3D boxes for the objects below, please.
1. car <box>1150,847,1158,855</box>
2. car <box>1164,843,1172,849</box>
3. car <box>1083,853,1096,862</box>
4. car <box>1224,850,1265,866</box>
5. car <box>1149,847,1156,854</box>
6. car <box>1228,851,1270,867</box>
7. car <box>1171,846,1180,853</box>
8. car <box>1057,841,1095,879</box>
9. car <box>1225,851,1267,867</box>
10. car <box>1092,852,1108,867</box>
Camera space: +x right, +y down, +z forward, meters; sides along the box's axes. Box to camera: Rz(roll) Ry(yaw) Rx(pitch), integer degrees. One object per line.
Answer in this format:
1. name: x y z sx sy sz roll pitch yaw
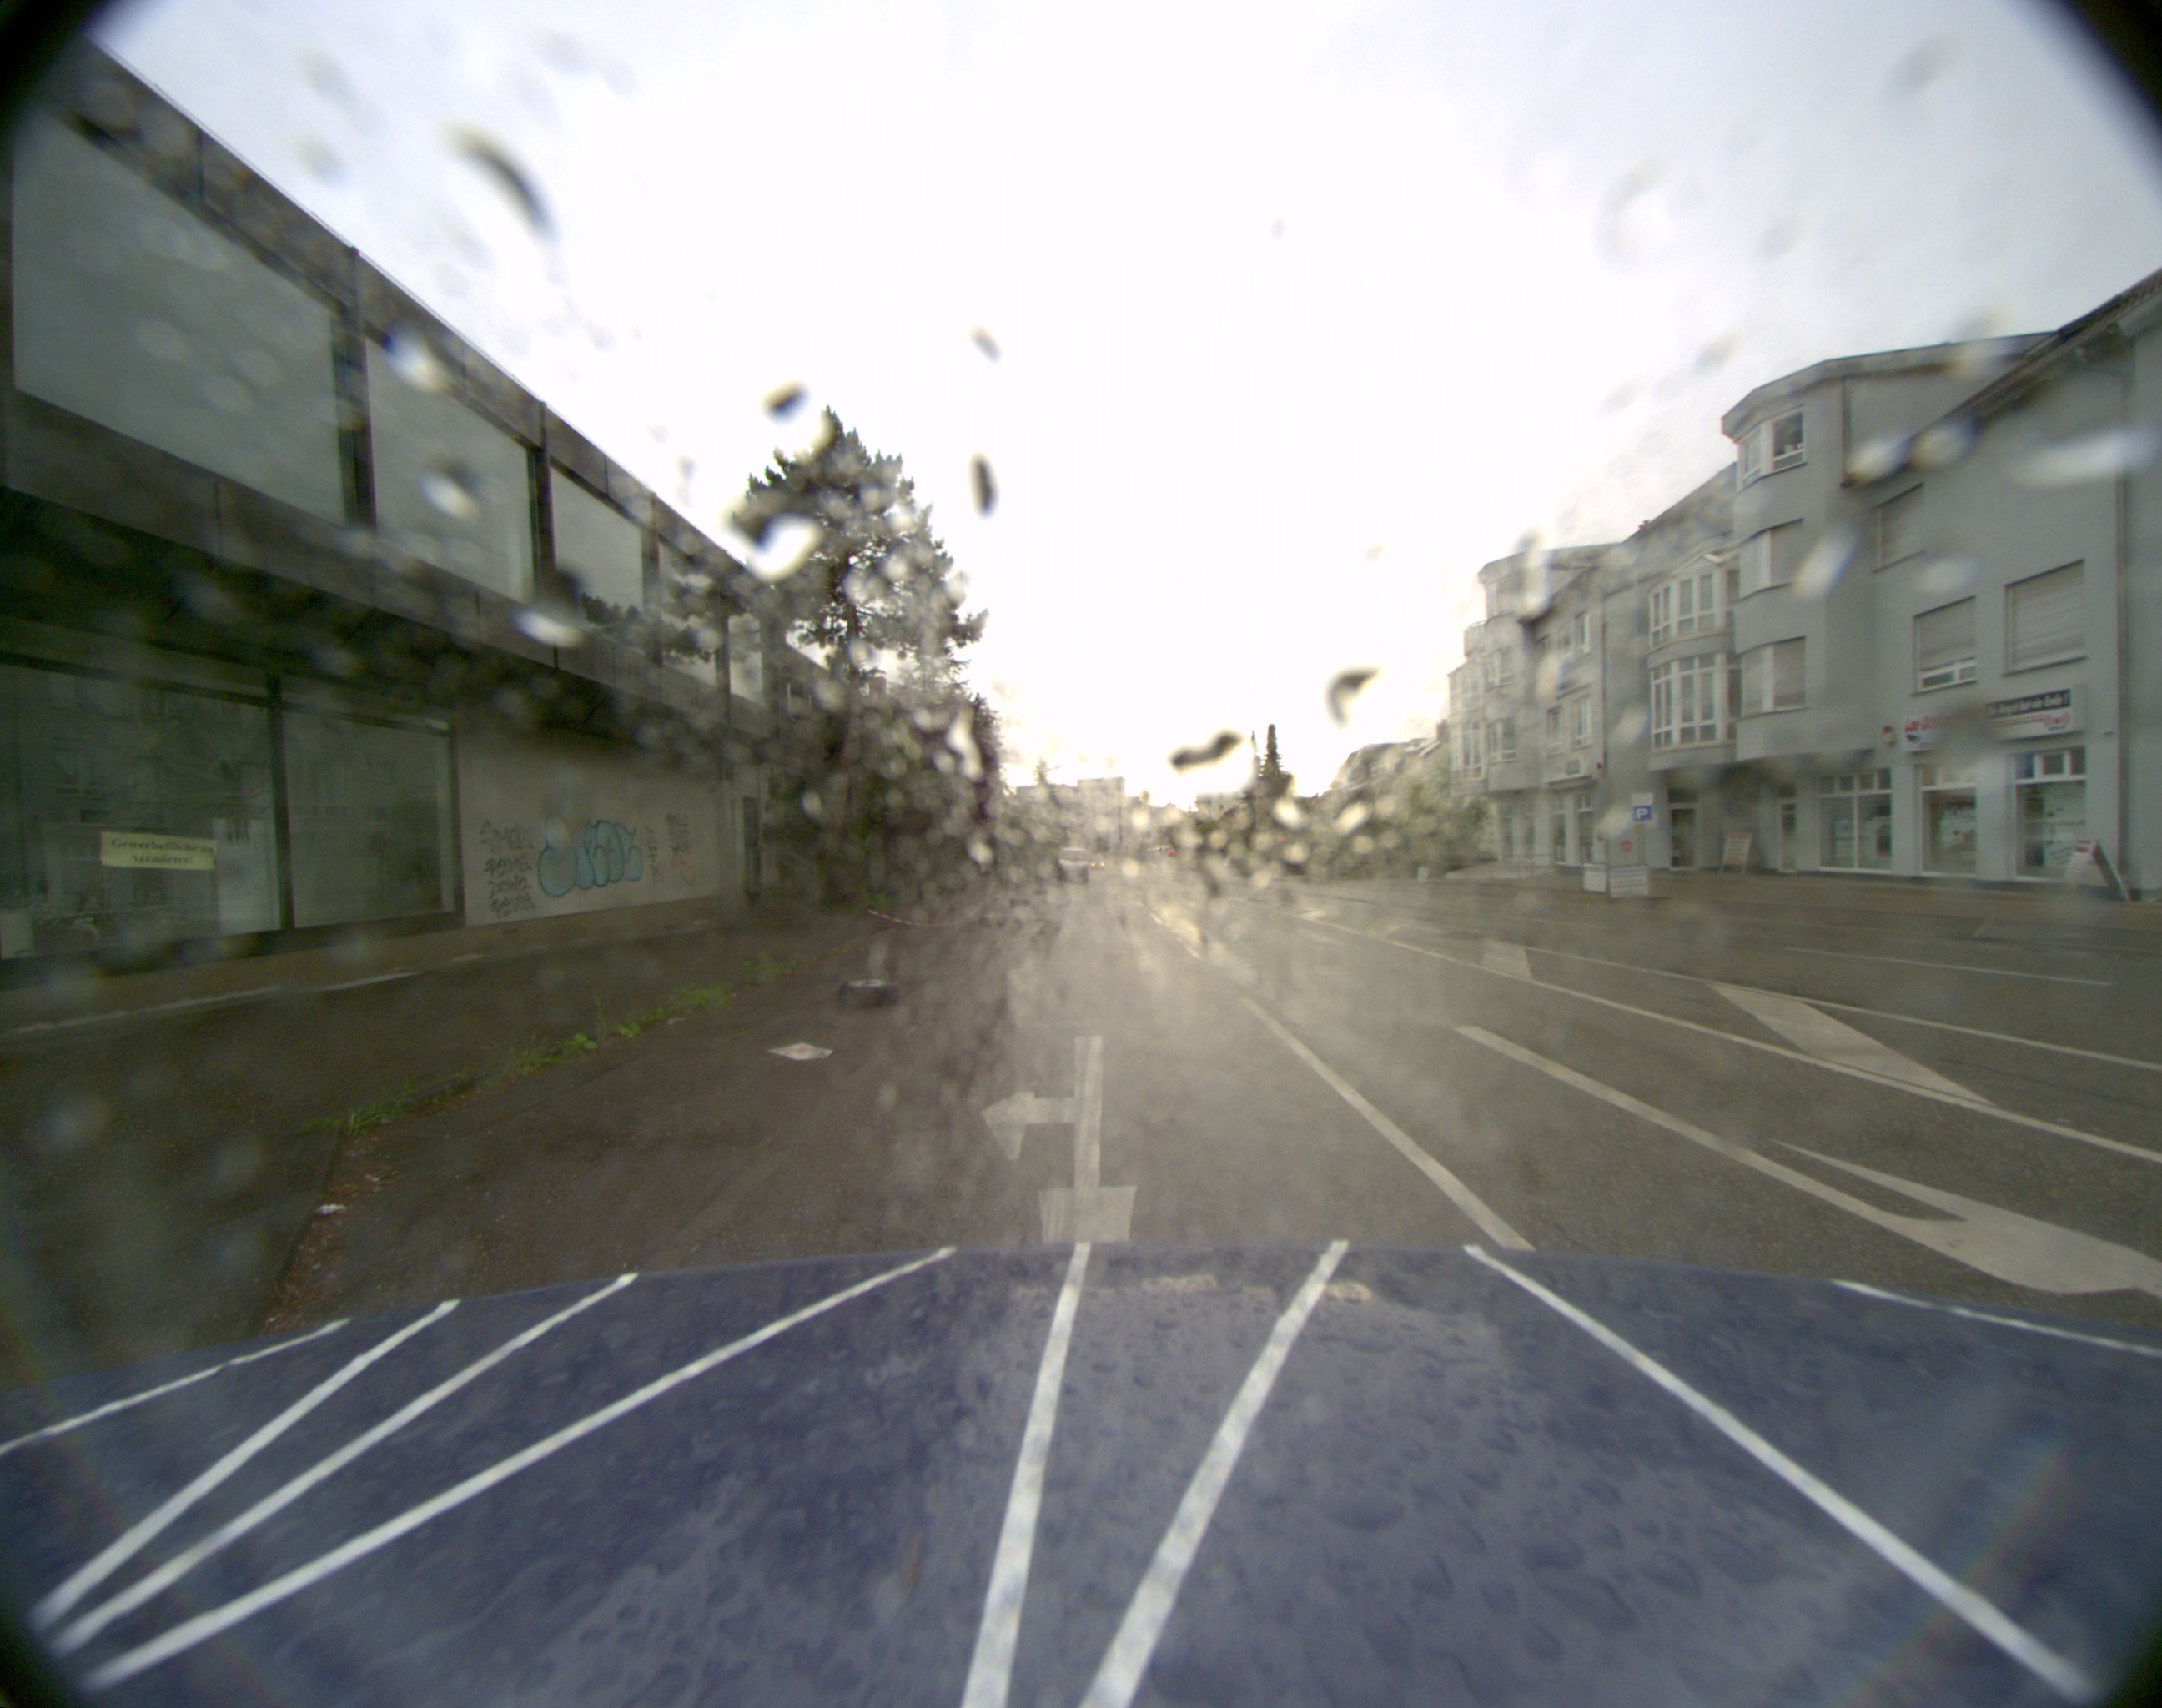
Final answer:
1. car: 17.688 -0.698 184.085 1.851 1.870 4.122 -1 0 5
2. car: 24.495 -2.211 214.521 1.850 1.753 4.124 -1 0 11
3. car: 1.473 0.582 133.945 1.912 1.622 3.703 -1 0 5
4. car: 17.804 0.463 82.902 4.114 1.536 2.001 -3 0 6
5. car: 17.989 -0.955 191.215 1.851 1.753 4.123 -1 0 6
6. car: 17.155 0.530 77.708 4.034 1.434 1.813 -3 0 6
7. car: 22.508 -1.068 180.817 1.997 1.606 4.003 -1 0 11
8. car: -0.273 0.404 51.626 2.397 2.417 6.433 -1 0 1
9. car: 17.391 0.540 80.191 4.155 1.434 1.891 -3 0 8
10. car: 2.450 0.712 97.102 1.835 1.783 3.837 -3 0 2
